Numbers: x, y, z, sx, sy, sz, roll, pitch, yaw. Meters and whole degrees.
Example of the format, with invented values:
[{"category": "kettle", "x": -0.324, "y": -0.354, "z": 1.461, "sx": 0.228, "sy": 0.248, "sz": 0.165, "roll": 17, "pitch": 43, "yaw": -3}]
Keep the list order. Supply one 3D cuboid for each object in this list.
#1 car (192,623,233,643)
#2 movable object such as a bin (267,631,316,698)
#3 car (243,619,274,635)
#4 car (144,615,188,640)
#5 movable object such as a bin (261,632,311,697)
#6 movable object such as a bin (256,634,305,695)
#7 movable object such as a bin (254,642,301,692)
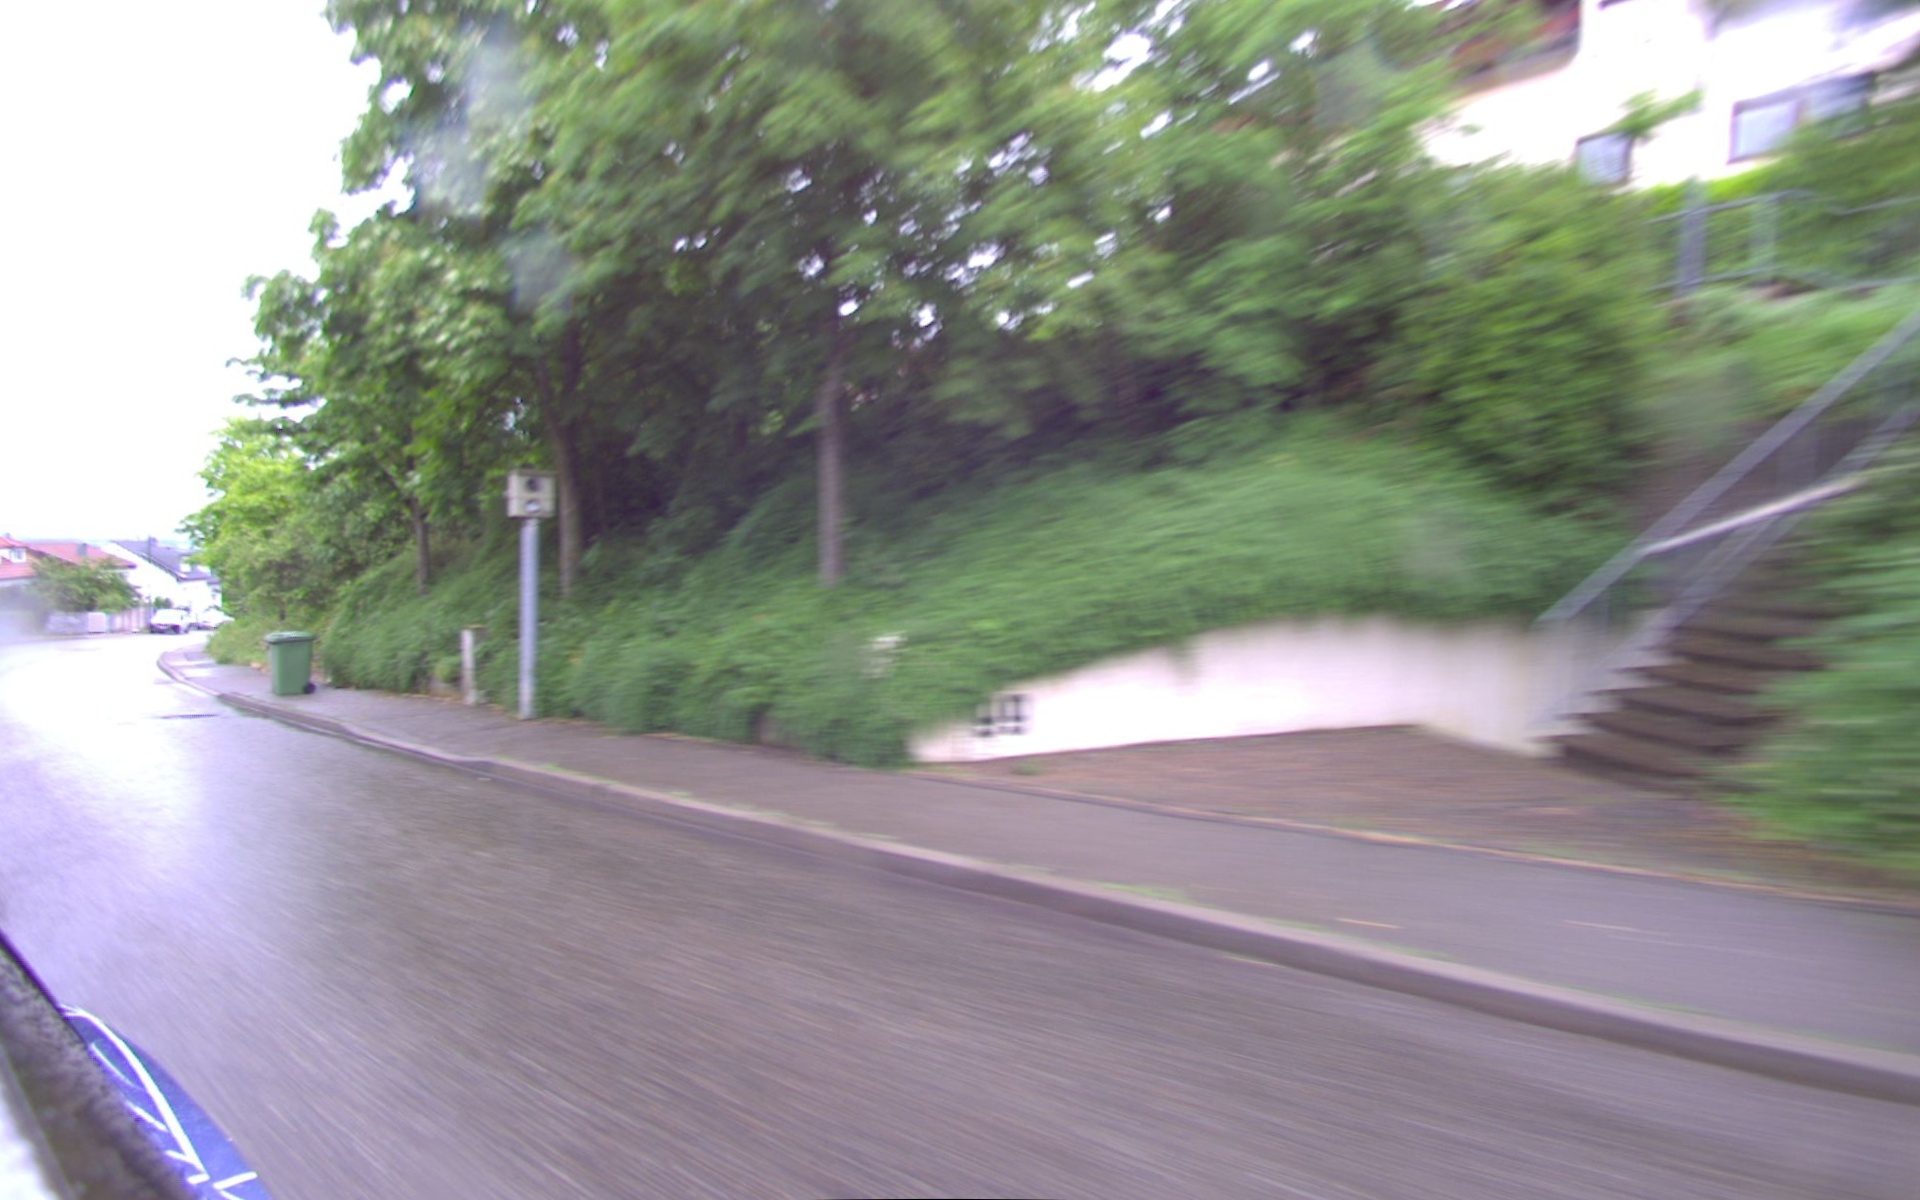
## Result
[{"category": "car", "x": -67.138, "y": 2.947, "z": 90.940, "sx": 1.779, "sy": 1.639, "sz": 4.301, "roll": 4, "pitch": -2, "yaw": -21}, {"category": "movable object such as a bin", "x": -11.702, "y": 1.118, "z": 17.722, "sx": 0.640, "sy": 1.124, "sz": 0.505, "roll": 1, "pitch": -2, "yaw": -43}, {"category": "car", "x": -72.605, "y": 2.803, "z": 104.842, "sx": 1.636, "sy": 1.478, "sz": 3.775, "roll": 4, "pitch": -2, "yaw": -20}, {"category": "car", "x": -61.781, "y": 2.147, "z": 78.820, "sx": 1.754, "sy": 1.817, "sz": 4.722, "roll": 2, "pitch": -2, "yaw": -27}, {"category": "movable object such as a bin", "x": -12.098, "y": 1.144, "z": 18.168, "sx": 0.640, "sy": 1.112, "sz": 0.674, "roll": 1, "pitch": -2, "yaw": -43}, {"category": "movable object such as a bin", "x": -12.565, "y": 1.175, "z": 18.705, "sx": 0.640, "sy": 1.089, "sz": 0.674, "roll": 1, "pitch": -2, "yaw": -43}, {"category": "movable object such as a bin", "x": -13.033, "y": 1.266, "z": 19.334, "sx": 0.640, "sy": 0.918, "sz": 0.674, "roll": 1, "pitch": -2, "yaw": -43}]
